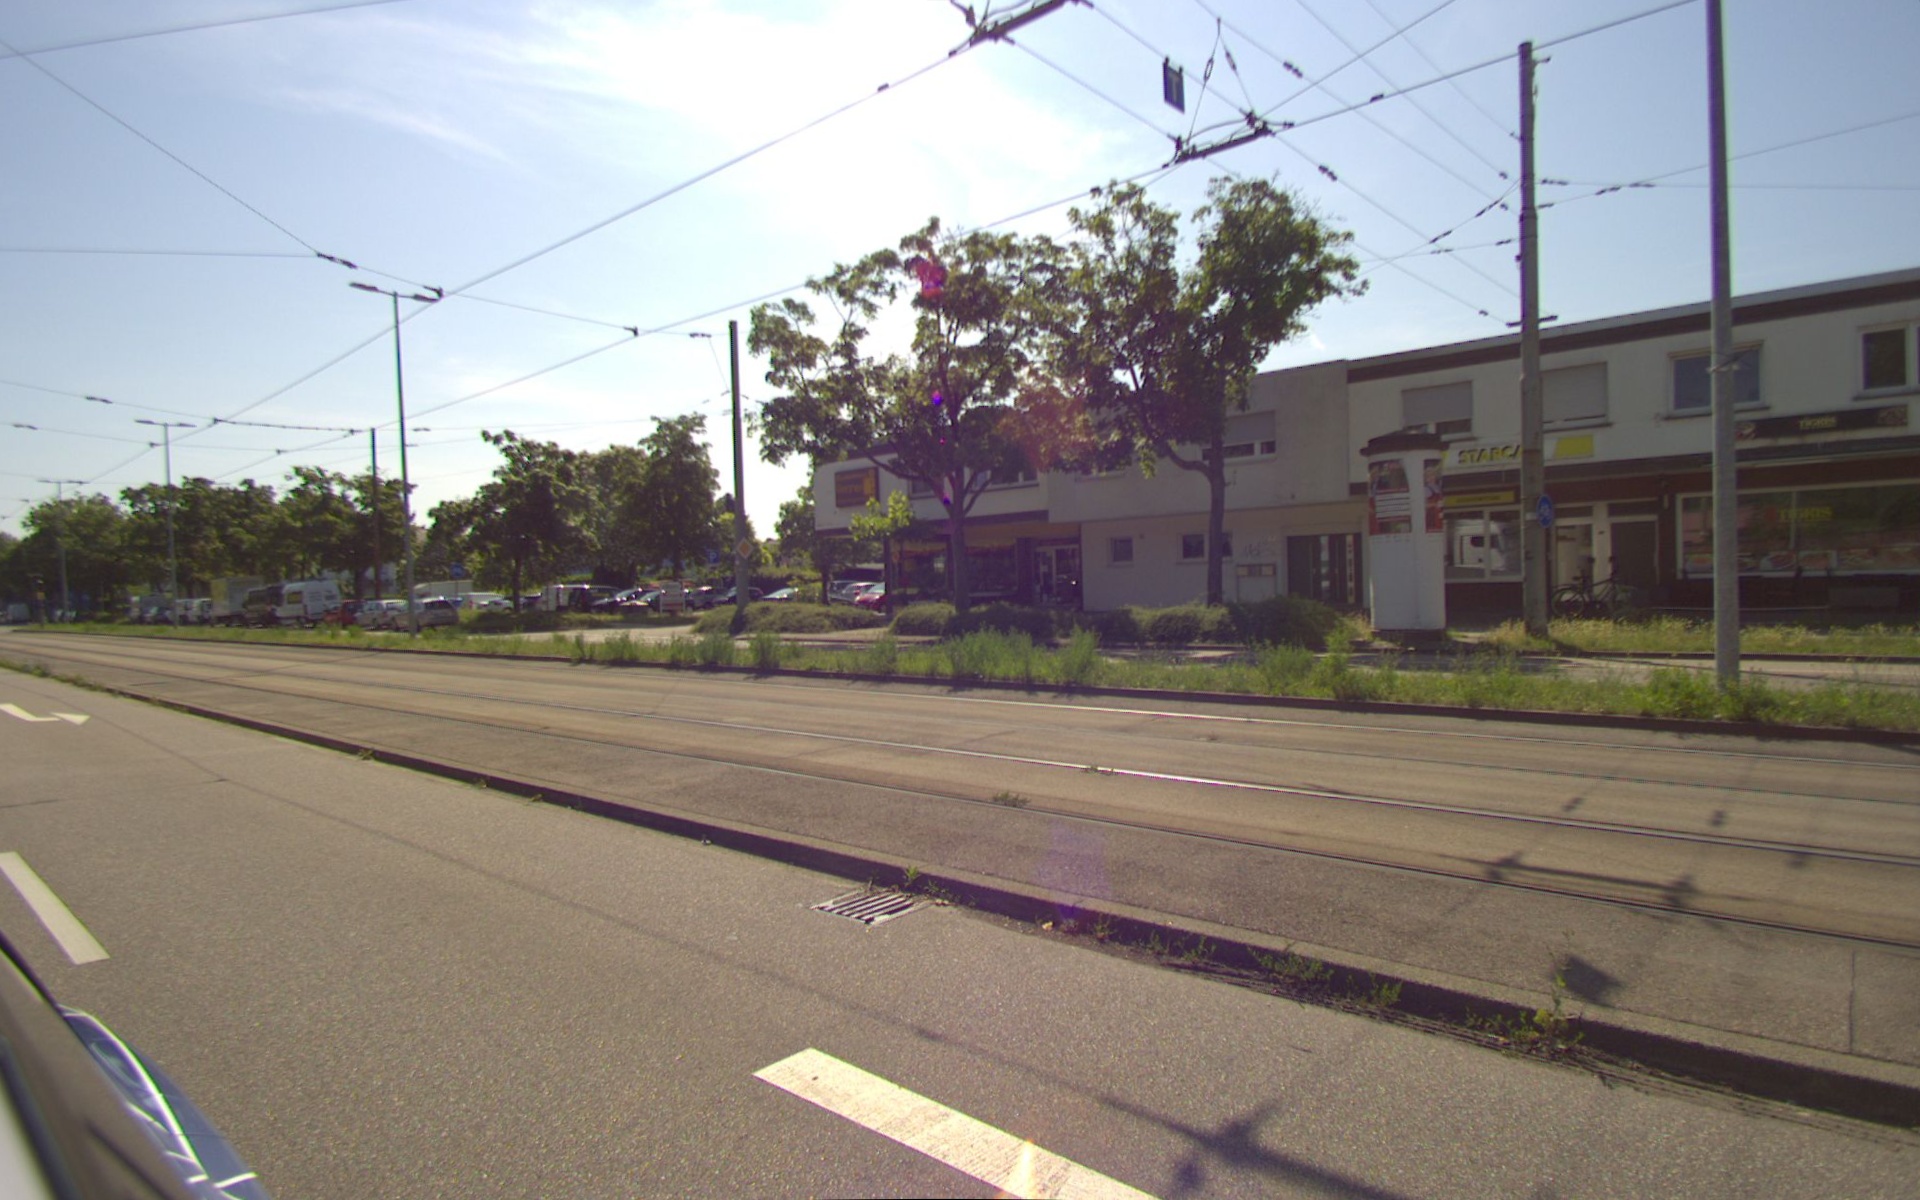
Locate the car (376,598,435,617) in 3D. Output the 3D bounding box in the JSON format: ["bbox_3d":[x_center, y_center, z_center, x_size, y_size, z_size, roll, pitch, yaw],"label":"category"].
[{"bbox_3d":[-42.318,0.594,77.269,1.710,1.291,3.580,-1,1,39],"label":"car"}]

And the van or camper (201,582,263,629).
[{"bbox_3d":[-48.429,0.391,67.278,5.278,3.007,2.101,-1,1,41],"label":"van or camper"}]

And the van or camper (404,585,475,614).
[{"bbox_3d":[-53.059,-0.098,103.258,2.299,2.751,6.002,-1,1,43],"label":"van or camper"}]

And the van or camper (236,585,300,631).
[{"bbox_3d":[-42.490,0.493,62.079,4.836,2.652,2.014,-1,1,41],"label":"van or camper"}]

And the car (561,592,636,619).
[{"bbox_3d":[-20.174,0.272,56.576,1.710,1.372,3.580,-1,1,39],"label":"car"}]

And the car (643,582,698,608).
[{"bbox_3d":[-21.249,-0.375,74.391,1.710,1.791,3.580,-1,1,39],"label":"car"}]

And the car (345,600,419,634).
[{"bbox_3d":[-29.197,0.857,51.065,4.282,1.572,1.869,-1,1,41],"label":"car"}]

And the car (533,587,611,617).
[{"bbox_3d":[-22.205,0.117,57.999,1.949,1.581,3.703,-1,1,39],"label":"car"}]

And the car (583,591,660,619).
[{"bbox_3d":[-18.223,0.248,54.637,1.710,1.372,3.580,-1,1,39],"label":"car"}]

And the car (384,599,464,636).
[{"bbox_3d":[-25.129,0.834,47.398,4.285,1.506,1.868,-1,4,43],"label":"car"}]

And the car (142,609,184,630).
[{"bbox_3d":[-64.378,1.584,81.735,4.229,1.572,1.869,-1,1,41],"label":"car"}]

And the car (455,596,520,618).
[{"bbox_3d":[-31.551,0.456,67.626,1.710,1.291,3.580,-1,1,39],"label":"car"}]

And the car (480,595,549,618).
[{"bbox_3d":[-28.041,0.411,63.768,1.811,1.291,3.580,-1,1,39],"label":"car"}]

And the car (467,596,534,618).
[{"bbox_3d":[-29.852,0.435,65.852,1.710,1.291,3.580,-1,1,39],"label":"car"}]

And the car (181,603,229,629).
[{"bbox_3d":[-54.650,1.177,73.222,4.229,1.747,1.869,-1,1,41],"label":"car"}]

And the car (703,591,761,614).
[{"bbox_3d":[-15.634,0.161,69.388,1.710,1.372,3.580,-1,1,39],"label":"car"}]

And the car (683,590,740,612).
[{"bbox_3d":[-17.474,0.076,71.228,1.710,1.372,3.580,-1,1,39],"label":"car"}]

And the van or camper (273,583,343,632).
[{"bbox_3d":[-37.104,0.424,57.527,4.836,2.652,2.014,-1,1,41],"label":"van or camper"}]

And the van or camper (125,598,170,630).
[{"bbox_3d":[-69.458,1.160,86.453,5.450,2.639,2.087,-1,0,41],"label":"van or camper"}]

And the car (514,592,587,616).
[{"bbox_3d":[-24.015,0.225,59.455,1.710,1.294,3.580,-1,1,39],"label":"car"}]

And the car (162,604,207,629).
[{"bbox_3d":[-59.737,1.271,77.942,4.229,1.781,1.869,-1,1,41],"label":"car"}]

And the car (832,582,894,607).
[{"bbox_3d":[-5.842,-0.363,61.336,1.710,1.372,3.580,-1,1,39],"label":"car"}]

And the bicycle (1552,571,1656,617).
[{"bbox_3d":[14.646,-0.130,23.048,1.910,0.990,0.750,-1,1,41],"label":"bicycle"}]

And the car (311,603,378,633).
[{"bbox_3d":[-33.174,0.975,54.498,4.229,1.506,1.869,-1,1,41],"label":"car"}]
